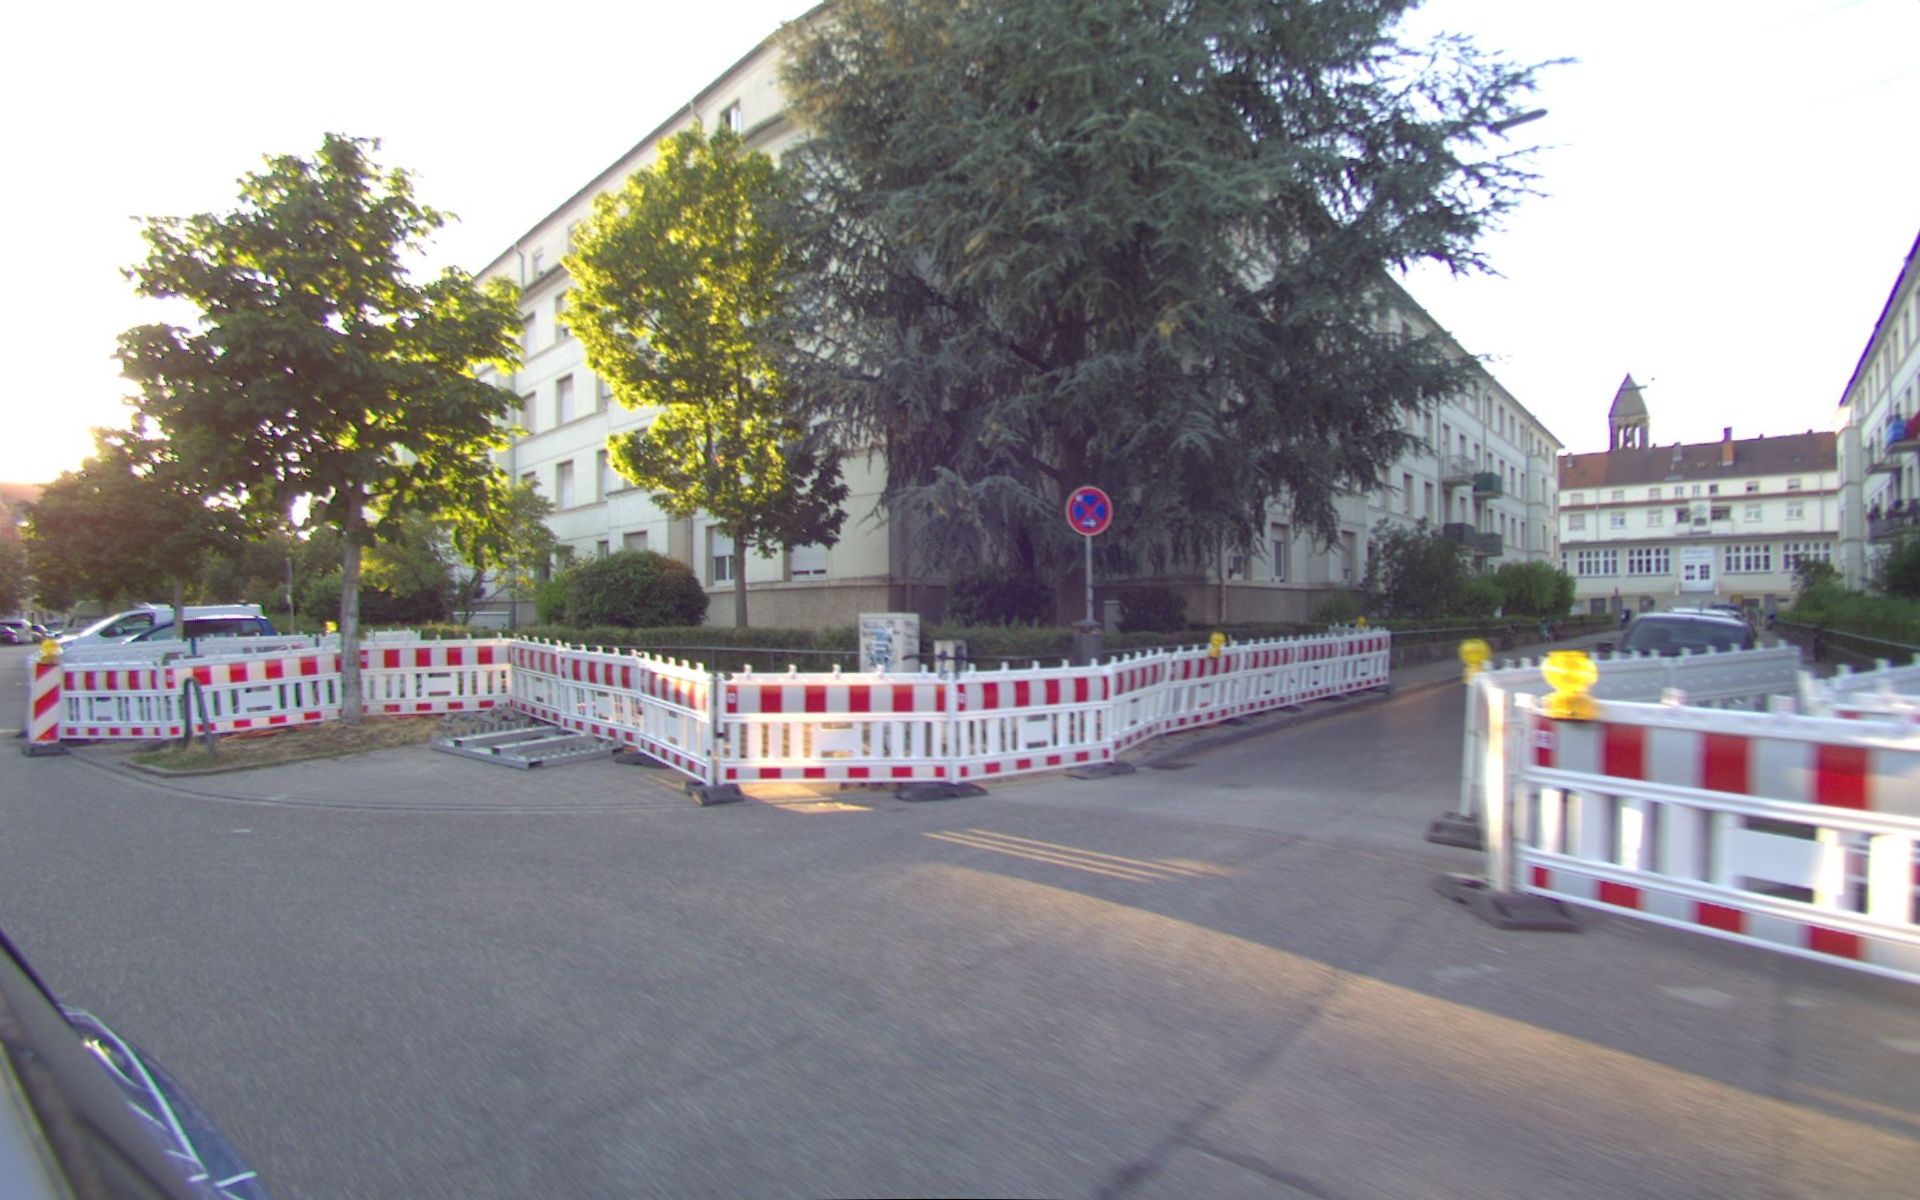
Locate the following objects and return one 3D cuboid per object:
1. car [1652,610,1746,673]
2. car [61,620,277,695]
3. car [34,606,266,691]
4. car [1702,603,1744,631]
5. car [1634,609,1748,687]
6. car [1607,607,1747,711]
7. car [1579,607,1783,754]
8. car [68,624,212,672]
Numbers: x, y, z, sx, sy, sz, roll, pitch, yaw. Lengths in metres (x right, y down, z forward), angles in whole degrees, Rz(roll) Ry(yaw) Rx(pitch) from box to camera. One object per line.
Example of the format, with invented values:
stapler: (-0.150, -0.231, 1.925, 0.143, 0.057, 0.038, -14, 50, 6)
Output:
car: (18.544, 0.976, 25.336, 1.785, 1.439, 3.703, 1, 0, 38)
car: (-19.772, 1.365, 25.410, 4.073, 1.696, 2.001, 0, -2, -45)
car: (-21.766, 1.241, 27.349, 4.720, 2.085, 2.001, 0, -2, -45)
car: (42.243, 0.926, 56.007, 1.785, 1.439, 3.703, 1, 0, 38)
car: (15.240, 0.918, 21.035, 1.785, 1.439, 3.579, 1, 0, 38)
car: (11.786, 0.875, 16.554, 1.684, 1.471, 3.703, 1, 0, 38)
car: (8.841, 0.844, 12.343, 1.785, 1.471, 3.703, 1, 0, 38)
car: (-31.206, 1.796, 38.574, 4.073, 1.696, 2.001, 0, -2, -45)
